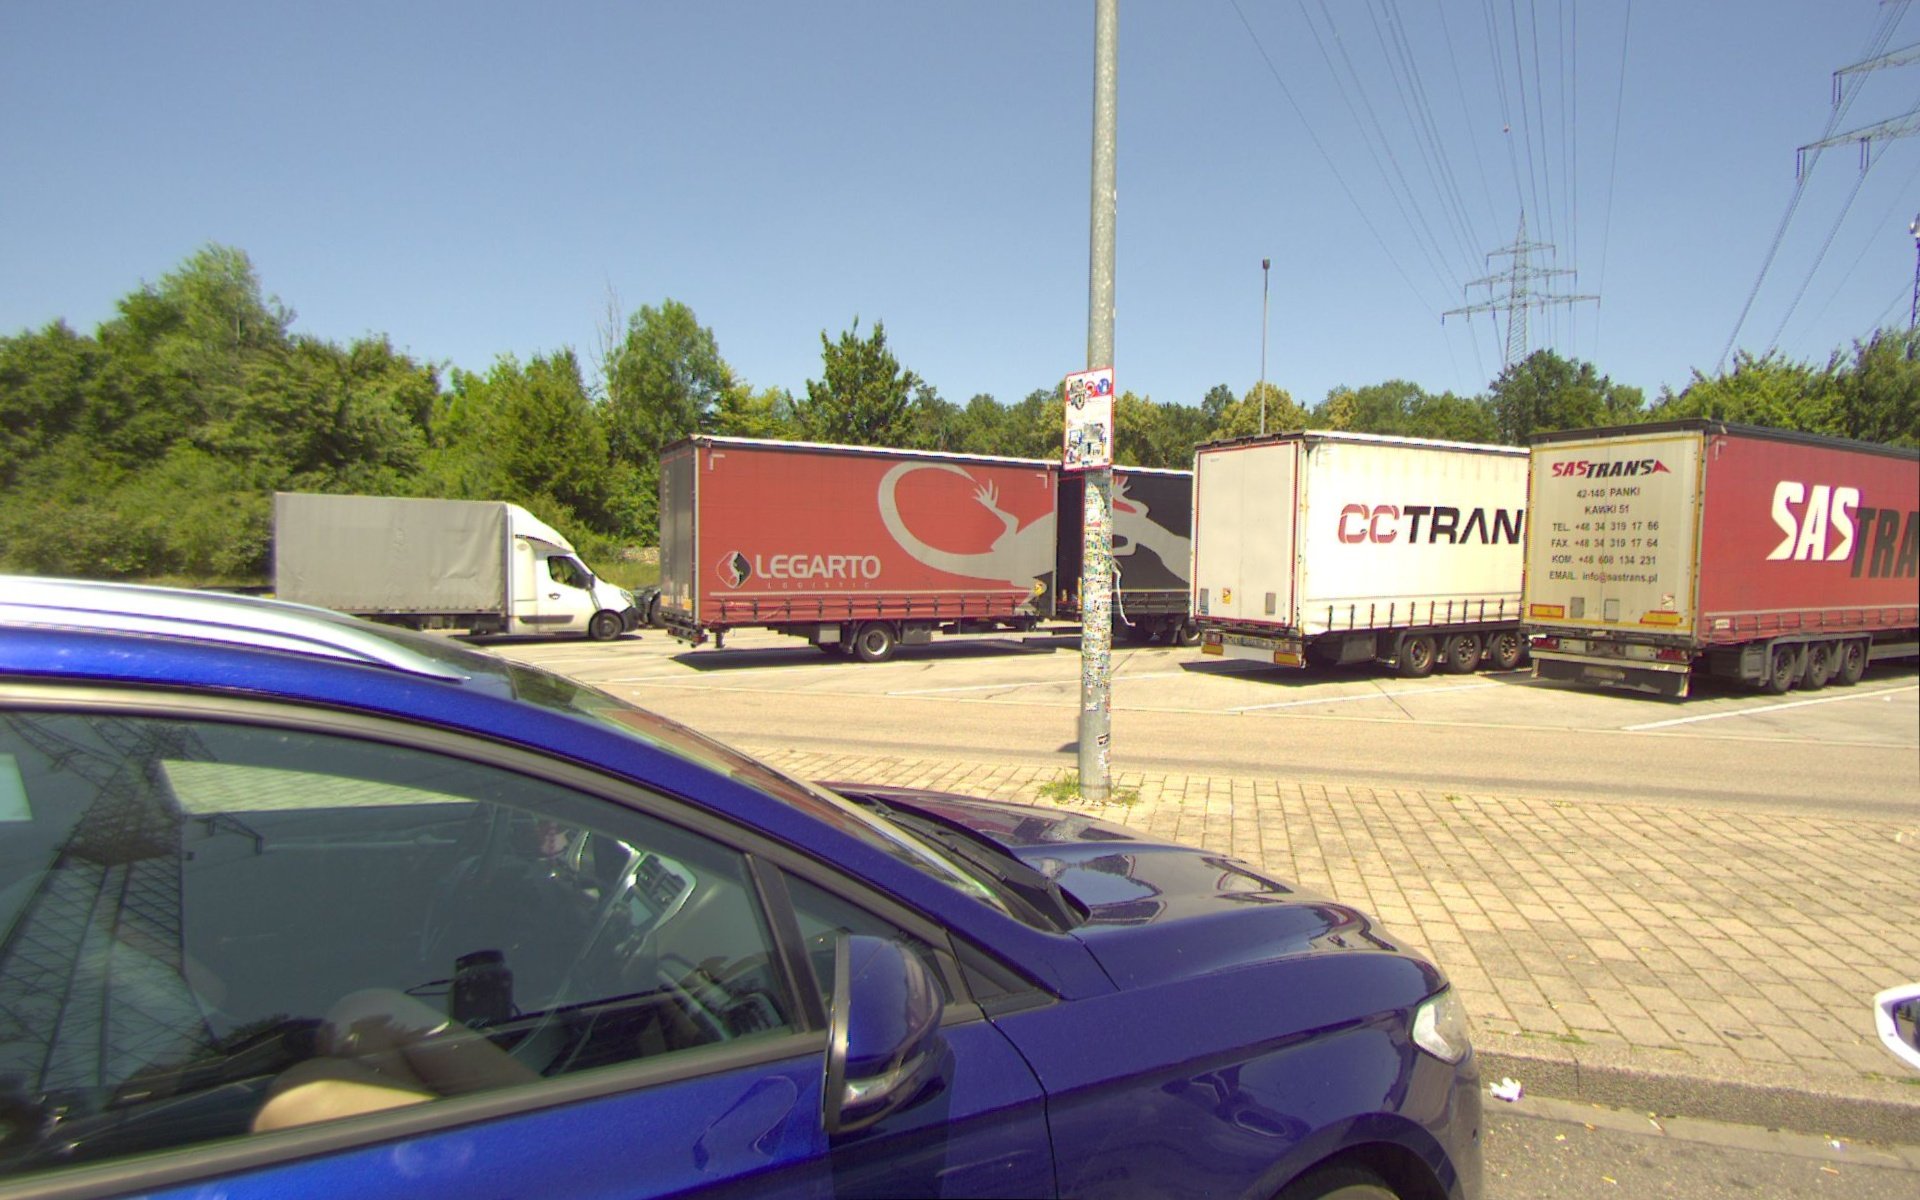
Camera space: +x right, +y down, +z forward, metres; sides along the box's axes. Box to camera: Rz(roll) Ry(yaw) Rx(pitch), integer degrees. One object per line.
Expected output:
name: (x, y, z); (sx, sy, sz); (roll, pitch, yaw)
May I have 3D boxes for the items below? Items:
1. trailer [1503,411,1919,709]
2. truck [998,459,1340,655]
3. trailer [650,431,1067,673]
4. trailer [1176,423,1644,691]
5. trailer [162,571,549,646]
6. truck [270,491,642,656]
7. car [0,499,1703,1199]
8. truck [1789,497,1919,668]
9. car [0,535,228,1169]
trailer: (15.463, -0.677, 18.610); (13.599, 4.127, 2.807); (-1, 3, -31)
truck: (5.269, -0.997, 24.541); (8.585, 4.127, 2.693); (-1, 3, -30)
trailer: (-1.884, -0.900, 20.333); (8.006, 4.127, 2.693); (-1, 3, -30)
trailer: (8.970, -0.769, 19.345); (10.264, 4.158, 2.693); (-1, 3, -30)
trailer: (-14.752, 0.112, 25.239); (8.007, 1.648, 2.199); (-1, 3, -30)
truck: (-11.241, -0.616, 22.999); (7.187, 3.289, 2.694); (-1, 3, -29)
car: (-0.978, 0.655, 1.454); (4.522, 1.491, 1.743); (0, 2, -32)
truck: (21.256, -0.405, 22.046); (5.903, 3.409, 2.798); (-1, 3, -30)
car: (-4.419, 0.583, 2.092); (4.522, 1.526, 1.743); (0, 2, -32)
